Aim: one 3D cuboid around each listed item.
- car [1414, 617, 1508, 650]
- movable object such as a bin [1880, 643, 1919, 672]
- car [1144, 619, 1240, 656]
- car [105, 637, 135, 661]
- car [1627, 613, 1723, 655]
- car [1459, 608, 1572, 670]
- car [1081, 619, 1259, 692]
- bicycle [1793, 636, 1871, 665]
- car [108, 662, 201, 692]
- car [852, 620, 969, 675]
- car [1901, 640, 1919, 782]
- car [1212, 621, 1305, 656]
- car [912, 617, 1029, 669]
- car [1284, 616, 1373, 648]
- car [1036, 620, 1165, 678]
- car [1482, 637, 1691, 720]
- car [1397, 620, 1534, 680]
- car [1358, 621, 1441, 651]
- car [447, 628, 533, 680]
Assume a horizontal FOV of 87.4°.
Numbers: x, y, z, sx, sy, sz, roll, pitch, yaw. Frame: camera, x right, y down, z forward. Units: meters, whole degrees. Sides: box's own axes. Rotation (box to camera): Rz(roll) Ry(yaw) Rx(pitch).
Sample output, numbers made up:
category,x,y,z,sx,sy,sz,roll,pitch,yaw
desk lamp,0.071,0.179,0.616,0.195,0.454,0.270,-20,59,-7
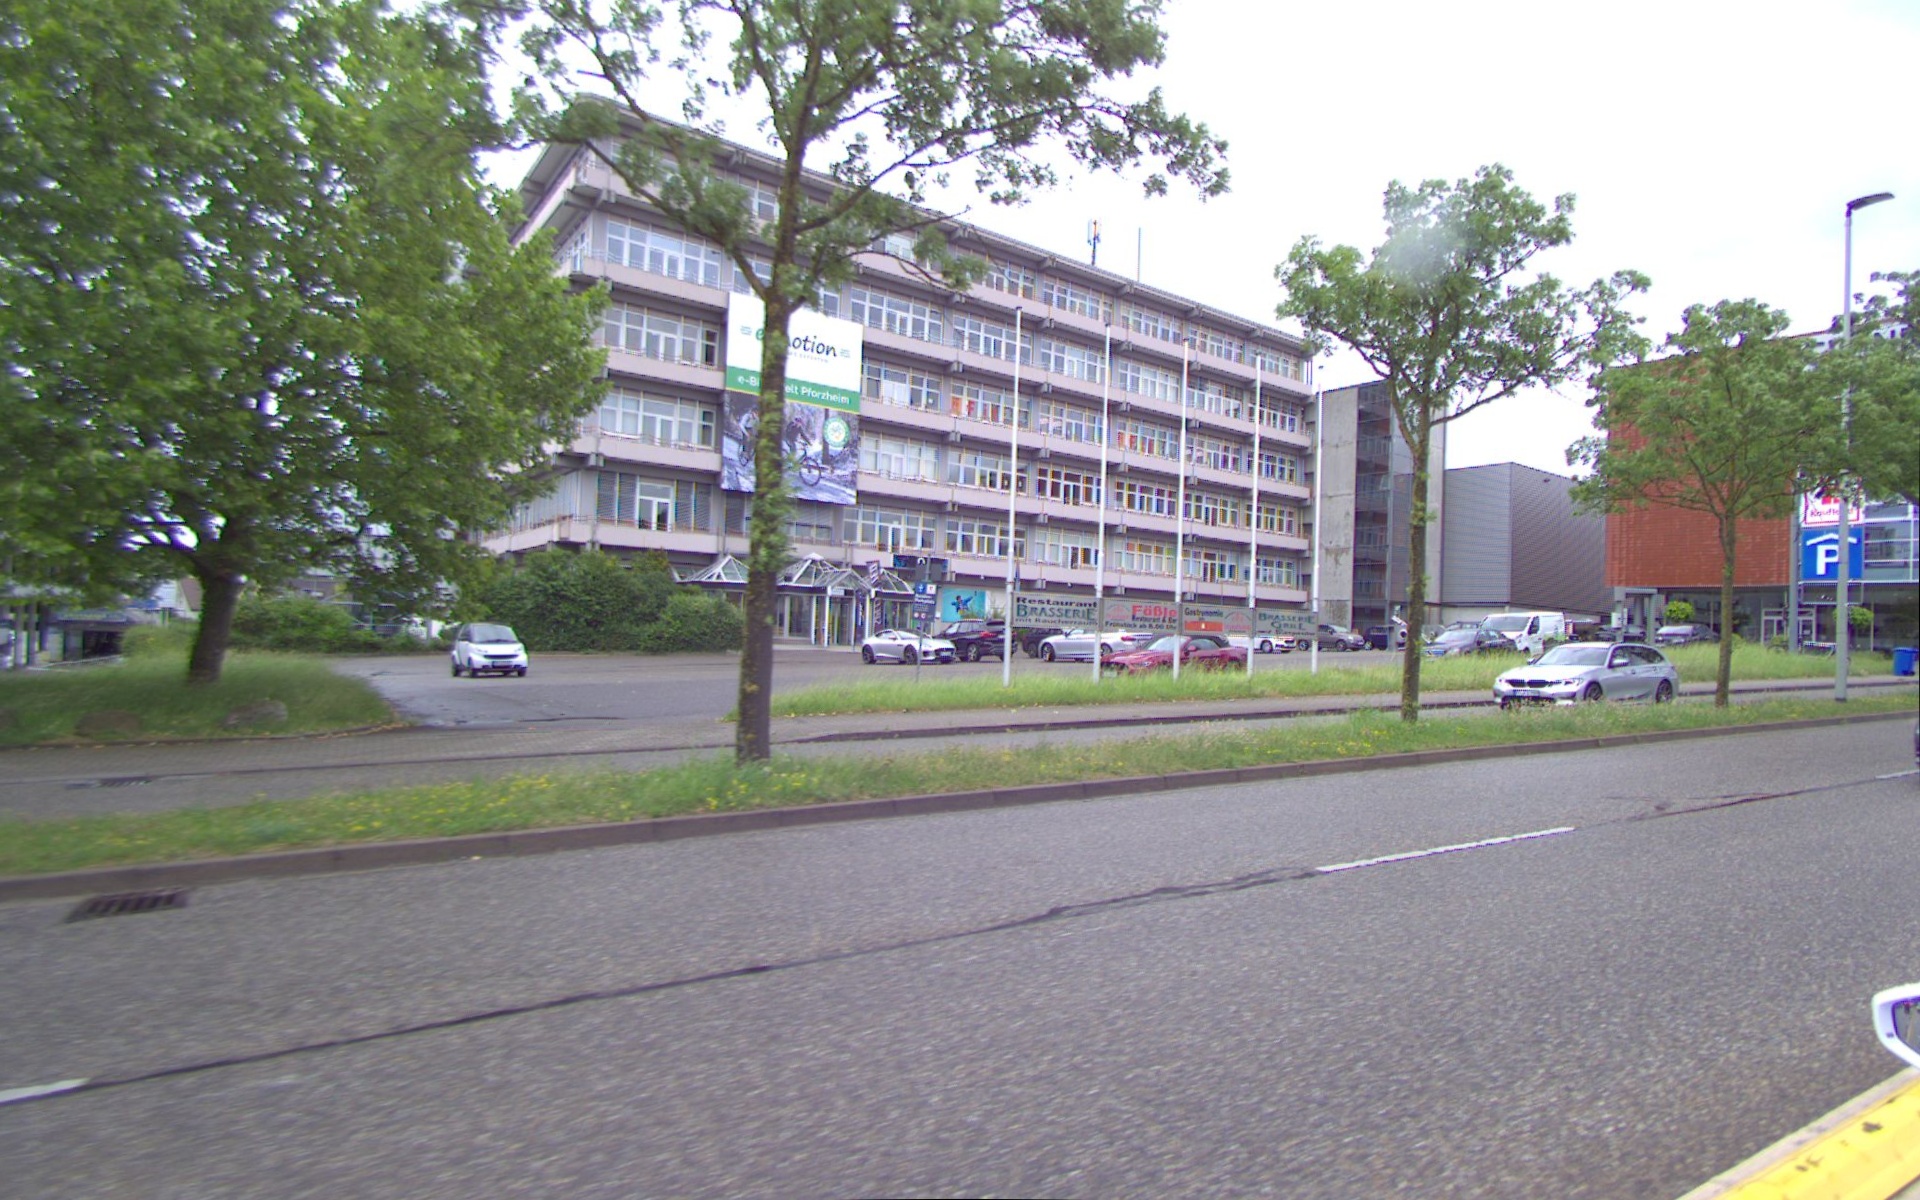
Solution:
category,x,y,z,sx,sy,sz,roll,pitch,yaw
car,26.477,1.754,53.144,1.803,1.530,4.077,0,1,-38
movable object such as a bin,37.100,2.259,39.678,1.073,1.094,0.815,1,2,-30
car,10.945,1.754,47.619,1.929,1.530,4.145,0,1,-38
car,-77.344,4.493,92.538,1.851,2.040,3.959,1,-2,-37
car,33.489,1.551,47.041,4.558,1.797,2.125,0,1,-33
car,21.304,1.430,38.437,5.078,2.124,2.096,0,1,-40
car,5.520,1.359,26.185,4.665,1.630,1.920,0,1,-36
bicycle,35.216,2.034,40.588,1.079,0.948,2.069,2,3,-26
car,-44.927,4.285,56.118,3.963,1.530,1.781,2,-2,-37
car,-1.891,1.692,37.269,1.952,1.769,4.558,-1,1,-41
car,11.837,1.123,10.541,4.326,1.428,1.659,1,-3,-30
car,15.068,1.914,50.849,1.831,1.530,4.243,0,1,-38
car,0.342,1.628,39.295,2.117,1.769,4.558,-1,1,-41
car,19.982,1.721,54.609,1.831,1.530,4.243,0,1,-38
car,5.005,1.698,36.224,1.949,1.769,4.563,0,1,-38
car,13.157,1.573,21.052,4.523,1.573,1.858,1,-3,-31
car,17.301,1.650,34.317,4.893,1.786,2.027,0,1,-34
car,25.417,2.036,58.209,1.803,1.530,4.077,0,1,-38
car,-13.495,1.522,28.793,1.597,1.383,2.673,0,-2,-40
